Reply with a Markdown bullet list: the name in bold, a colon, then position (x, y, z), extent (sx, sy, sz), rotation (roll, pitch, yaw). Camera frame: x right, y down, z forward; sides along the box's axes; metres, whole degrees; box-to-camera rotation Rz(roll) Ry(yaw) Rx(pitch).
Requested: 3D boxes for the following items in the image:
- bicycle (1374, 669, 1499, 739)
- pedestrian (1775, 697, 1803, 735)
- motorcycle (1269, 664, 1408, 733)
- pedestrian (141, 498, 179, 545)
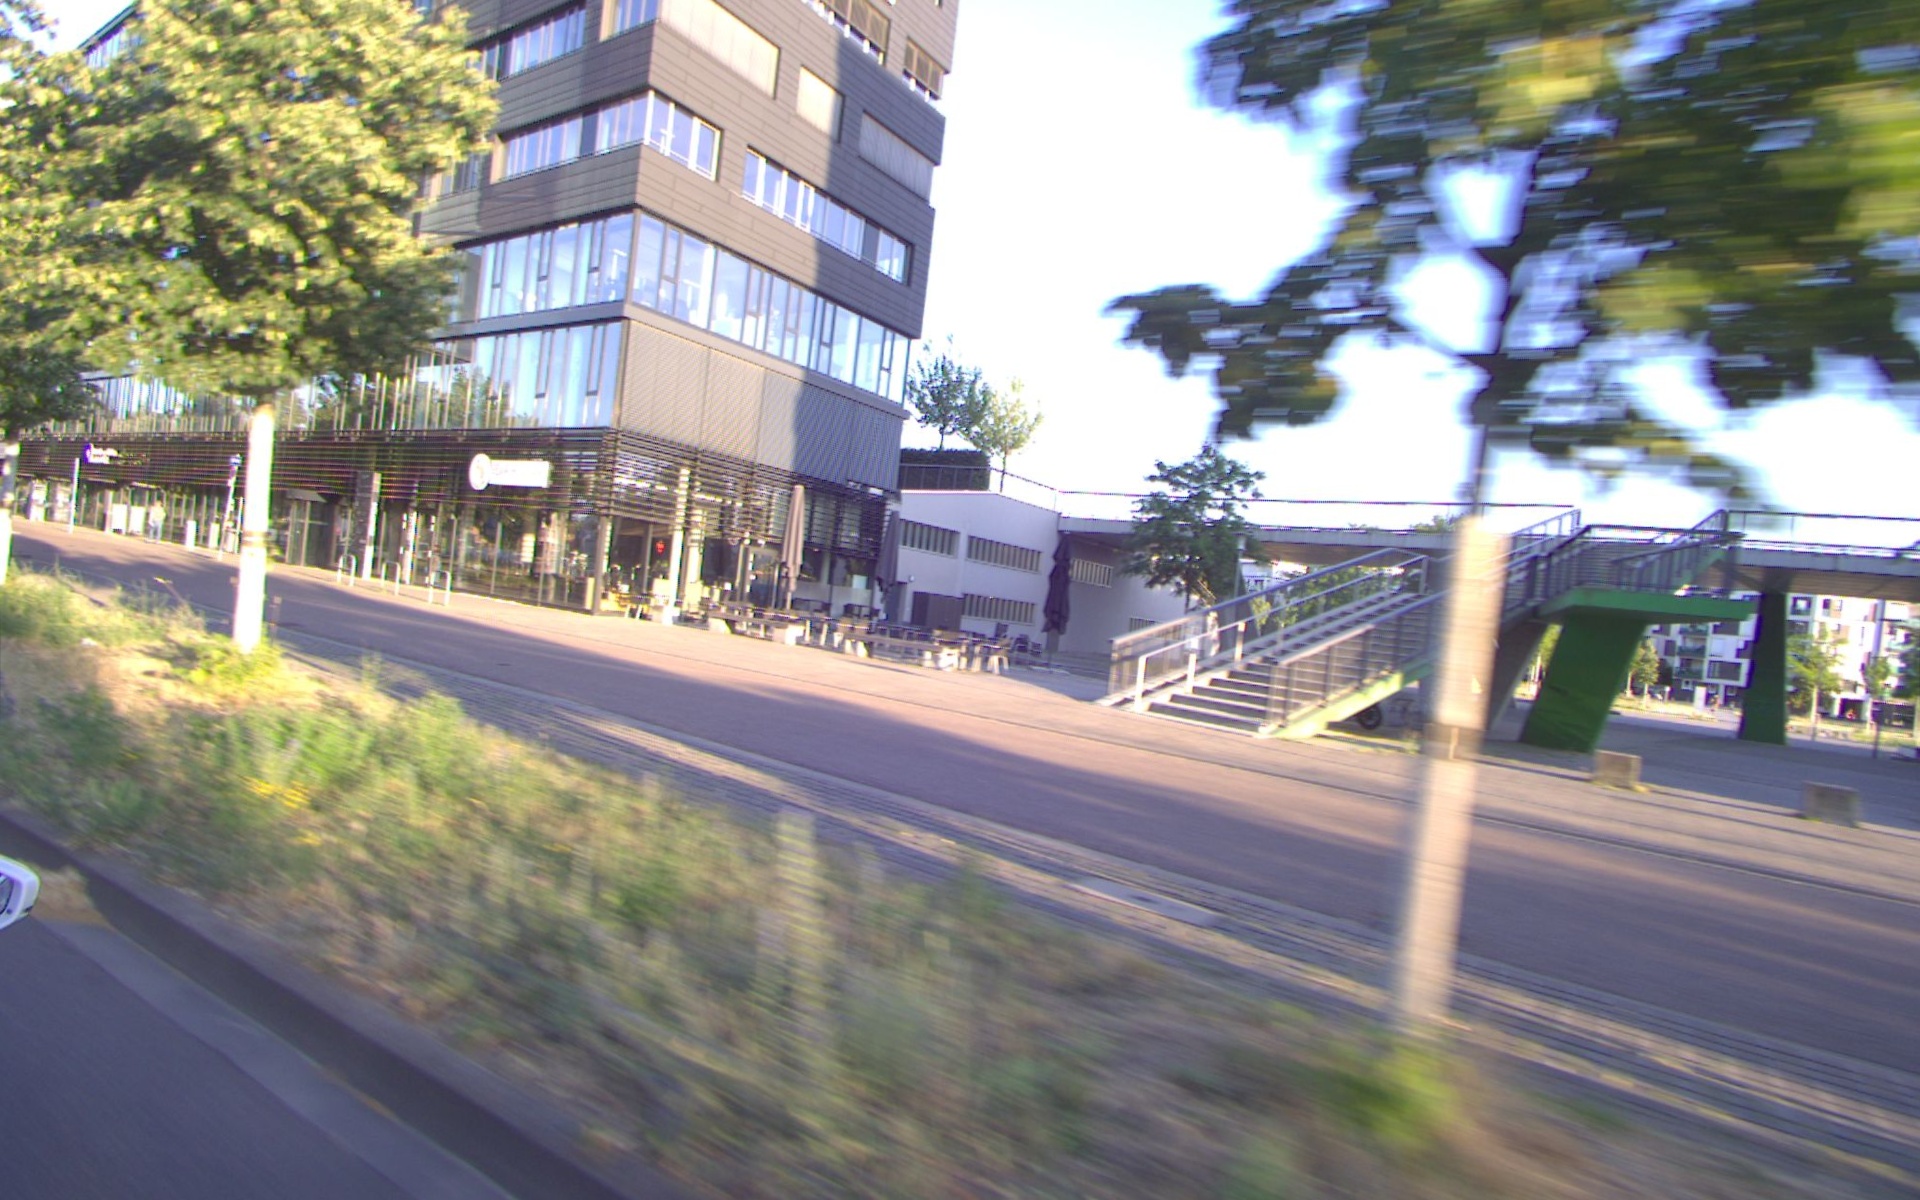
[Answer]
- **bicycle**: position (11.077, 2.413, 23.459), extent (0.728, 1.252, 2.419), rotation (6, 1, -44)
- **pedestrian**: position (48.035, 6.728, 58.291), extent (1.001, 2.039, 1.139), rotation (7, 1, 38)
- **motorcycle**: position (8.085, 2.094, 21.635), extent (0.728, 1.056, 2.658), rotation (6, 0, -44)
- **pedestrian**: position (-33.989, -3.324, 42.741), extent (0.898, 1.819, 0.897), rotation (7, 1, 34)
